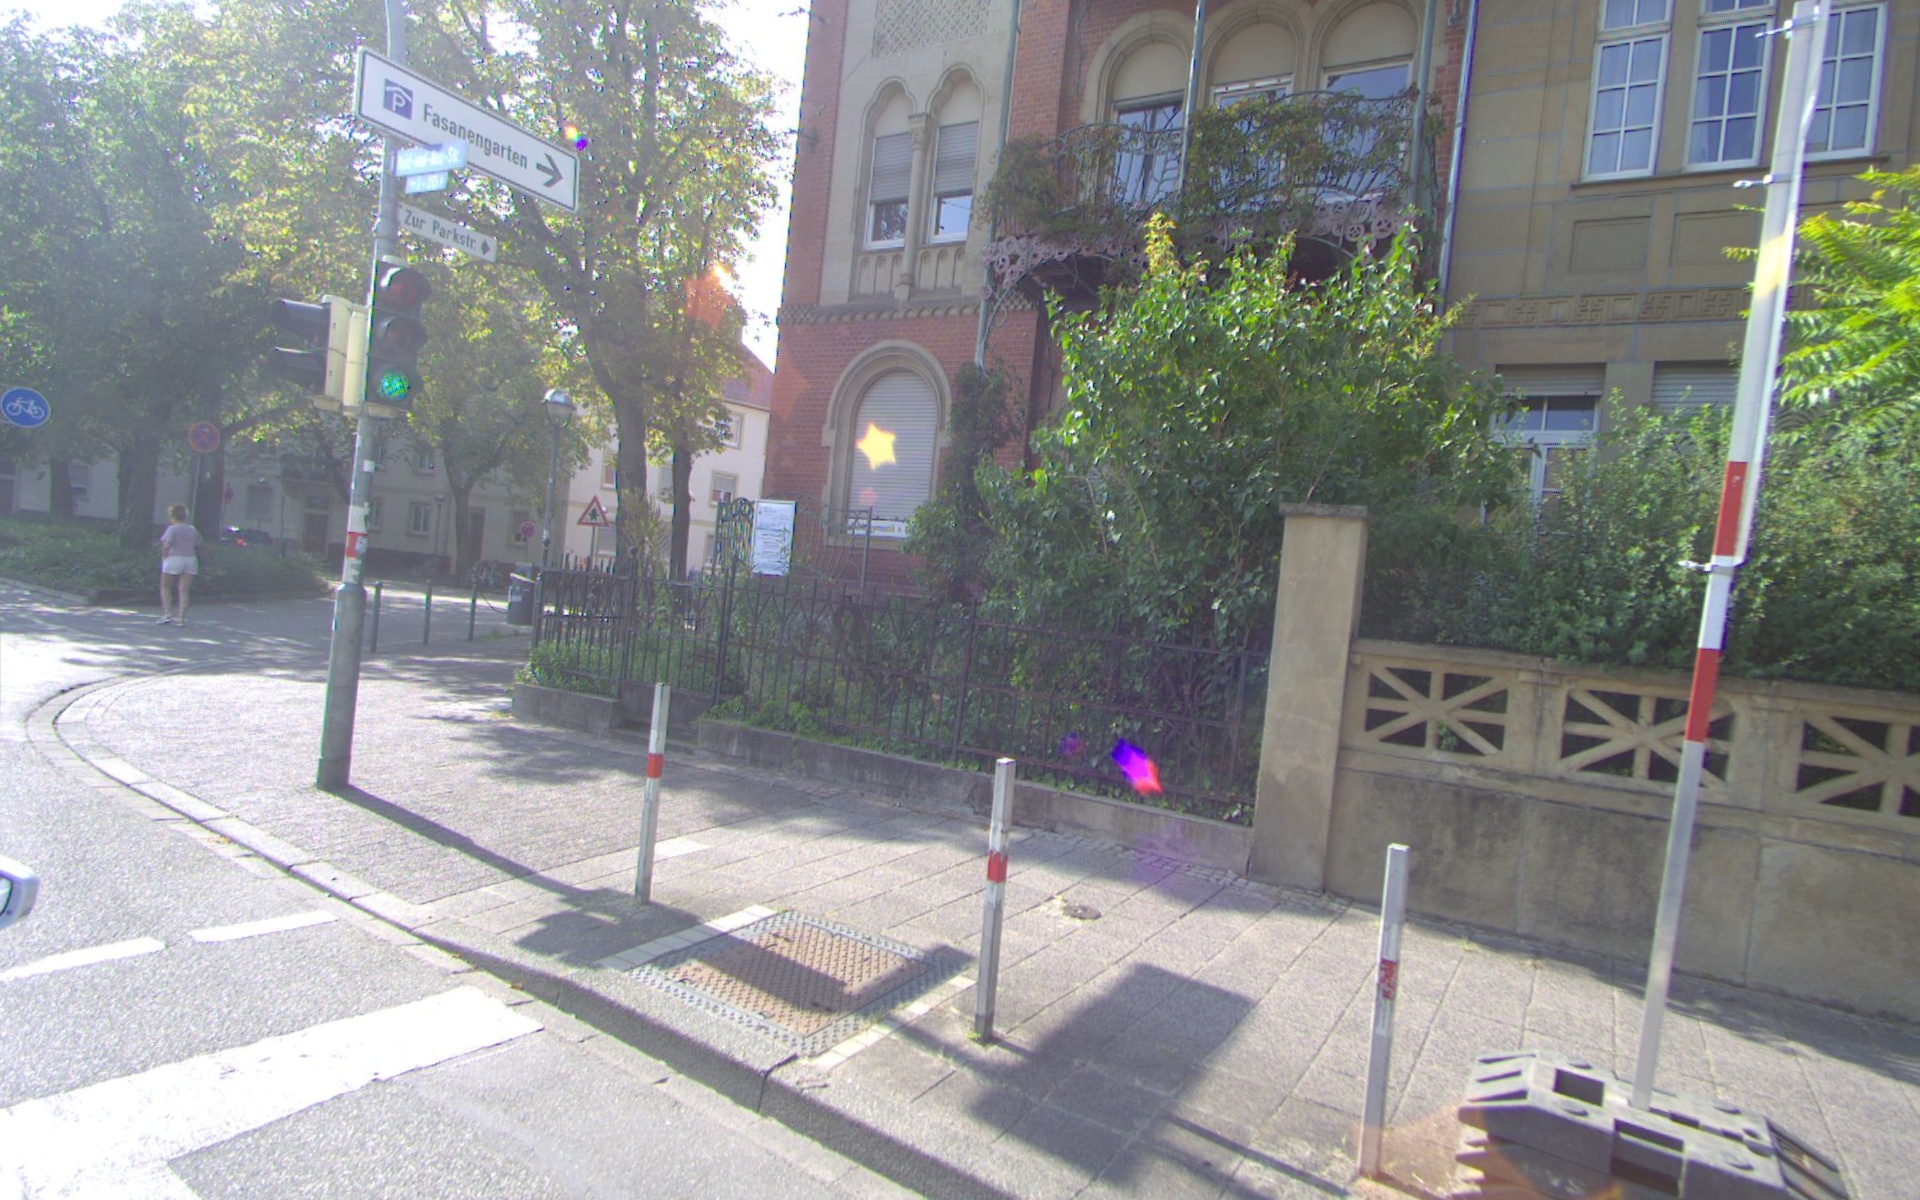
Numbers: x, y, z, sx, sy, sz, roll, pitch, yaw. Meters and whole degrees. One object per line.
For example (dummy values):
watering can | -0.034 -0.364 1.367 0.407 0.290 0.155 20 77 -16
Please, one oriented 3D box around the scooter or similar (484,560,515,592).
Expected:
scooter or similar | -18.764 -0.982 40.984 1.059 1.214 0.456 2 4 -28

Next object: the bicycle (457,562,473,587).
bicycle | -20.614 -1.078 41.894 0.420 0.990 1.548 5 0 -22

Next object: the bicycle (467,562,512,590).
bicycle | -19.406 -0.966 41.513 0.420 0.990 1.546 7 1 44

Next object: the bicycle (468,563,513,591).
bicycle | -19.233 -0.937 41.222 0.420 0.990 1.546 7 1 44

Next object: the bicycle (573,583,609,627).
bicycle | -8.951 0.110 24.444 0.418 0.990 1.767 6 0 -9

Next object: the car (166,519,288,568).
car | -29.132 -2.234 40.003 3.924 1.436 1.860 6 0 17

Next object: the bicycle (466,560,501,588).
bicycle | -20.245 -1.096 42.758 0.417 1.052 1.556 6 0 11

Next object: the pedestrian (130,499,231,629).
pedestrian | -11.126 -0.499 14.371 0.757 1.753 0.752 6 1 21

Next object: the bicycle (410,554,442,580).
bicycle | -24.042 -1.483 45.306 1.528 0.990 0.425 6 1 27
